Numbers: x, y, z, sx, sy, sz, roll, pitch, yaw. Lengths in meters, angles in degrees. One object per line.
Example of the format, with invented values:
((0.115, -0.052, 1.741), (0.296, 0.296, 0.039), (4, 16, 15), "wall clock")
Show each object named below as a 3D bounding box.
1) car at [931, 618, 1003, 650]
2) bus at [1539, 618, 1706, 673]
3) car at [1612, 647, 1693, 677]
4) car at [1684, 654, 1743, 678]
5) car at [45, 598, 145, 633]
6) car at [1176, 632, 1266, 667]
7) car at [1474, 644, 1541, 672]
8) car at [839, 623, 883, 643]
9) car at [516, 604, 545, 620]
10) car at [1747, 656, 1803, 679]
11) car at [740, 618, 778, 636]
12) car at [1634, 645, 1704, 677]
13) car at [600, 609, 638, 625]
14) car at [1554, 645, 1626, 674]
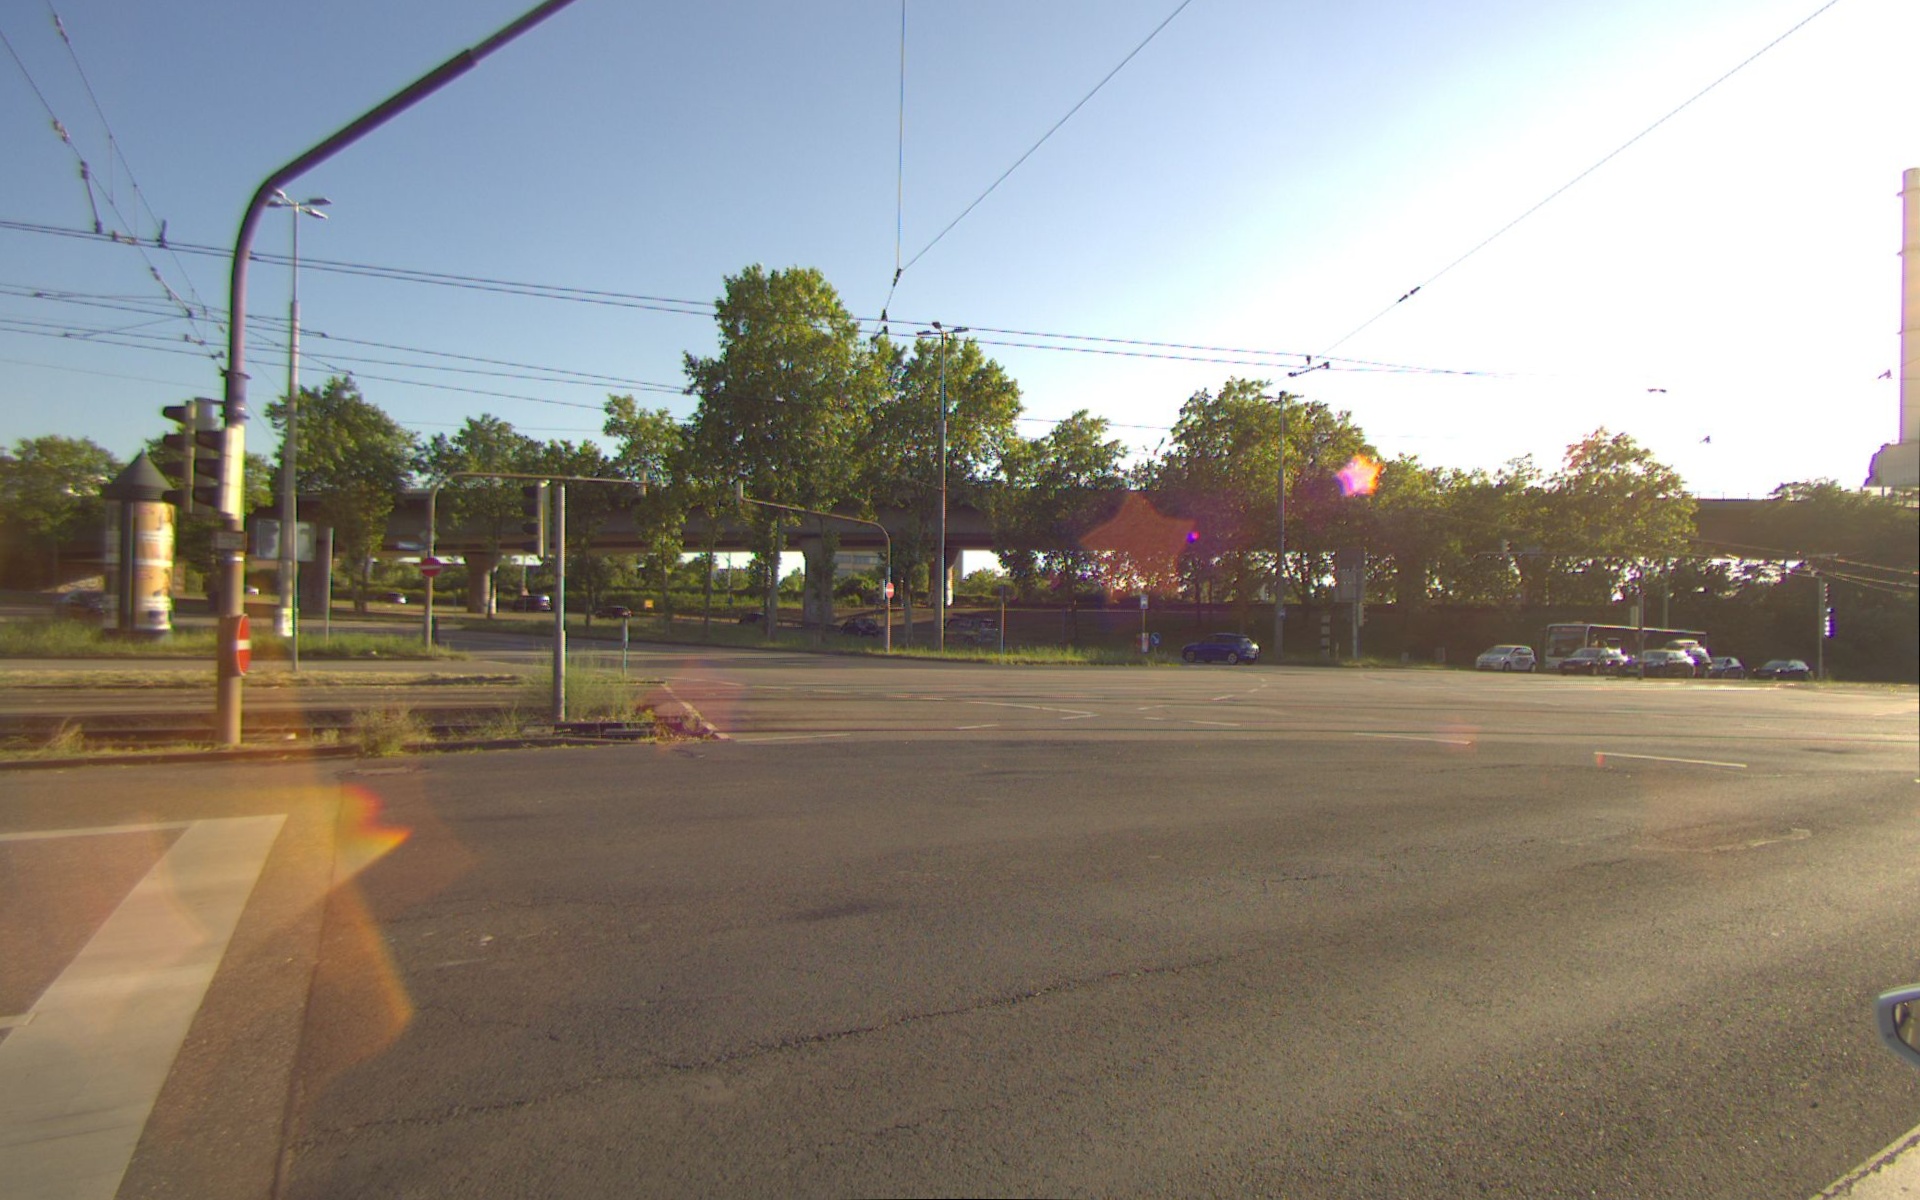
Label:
((0.424, 2.167, 64.295), (1.986, 1.930, 4.646), (3, -2, -42), "car")
((39.914, 2.766, 60.280), (12.696, 2.993, 2.810), (2, -1, -29), "bus")
((34.059, 3.048, 49.389), (4.047, 1.372, 1.703), (2, -1, -30), "car")
((49.106, 4.280, 65.461), (3.953, 1.461, 1.692), (2, -1, -30), "car")
((-39.133, 0.705, 45.450), (3.924, 1.505, 1.999), (0, -2, 25), "car")
((12.972, 2.440, 50.088), (1.988, 1.579, 3.882), (3, -2, -45), "car")
((29.696, 3.152, 54.469), (3.694, 1.372, 1.595), (3, -2, -33), "car")
((-7.841, 2.609, 79.593), (1.682, 1.441, 3.692), (3, -2, -39), "car")
((-50.166, 1.341, 117.260), (1.983, 1.644, 4.483), (3, 0, -39), "car")
((55.283, 4.599, 68.113), (3.953, 1.461, 1.692), (2, -1, -30), "car")
((-16.931, 2.280, 84.515), (1.680, 1.441, 3.696), (2, -1, -35), "car")
((39.756, 3.410, 56.299), (4.047, 1.674, 1.703), (2, -1, -30), "car")
((-35.690, 1.782, 105.151), (4.473, 1.473, 1.988), (1, -1, 45), "car")
((32.418, 3.074, 51.691), (3.957, 1.372, 1.595), (3, -2, -33), "car")
